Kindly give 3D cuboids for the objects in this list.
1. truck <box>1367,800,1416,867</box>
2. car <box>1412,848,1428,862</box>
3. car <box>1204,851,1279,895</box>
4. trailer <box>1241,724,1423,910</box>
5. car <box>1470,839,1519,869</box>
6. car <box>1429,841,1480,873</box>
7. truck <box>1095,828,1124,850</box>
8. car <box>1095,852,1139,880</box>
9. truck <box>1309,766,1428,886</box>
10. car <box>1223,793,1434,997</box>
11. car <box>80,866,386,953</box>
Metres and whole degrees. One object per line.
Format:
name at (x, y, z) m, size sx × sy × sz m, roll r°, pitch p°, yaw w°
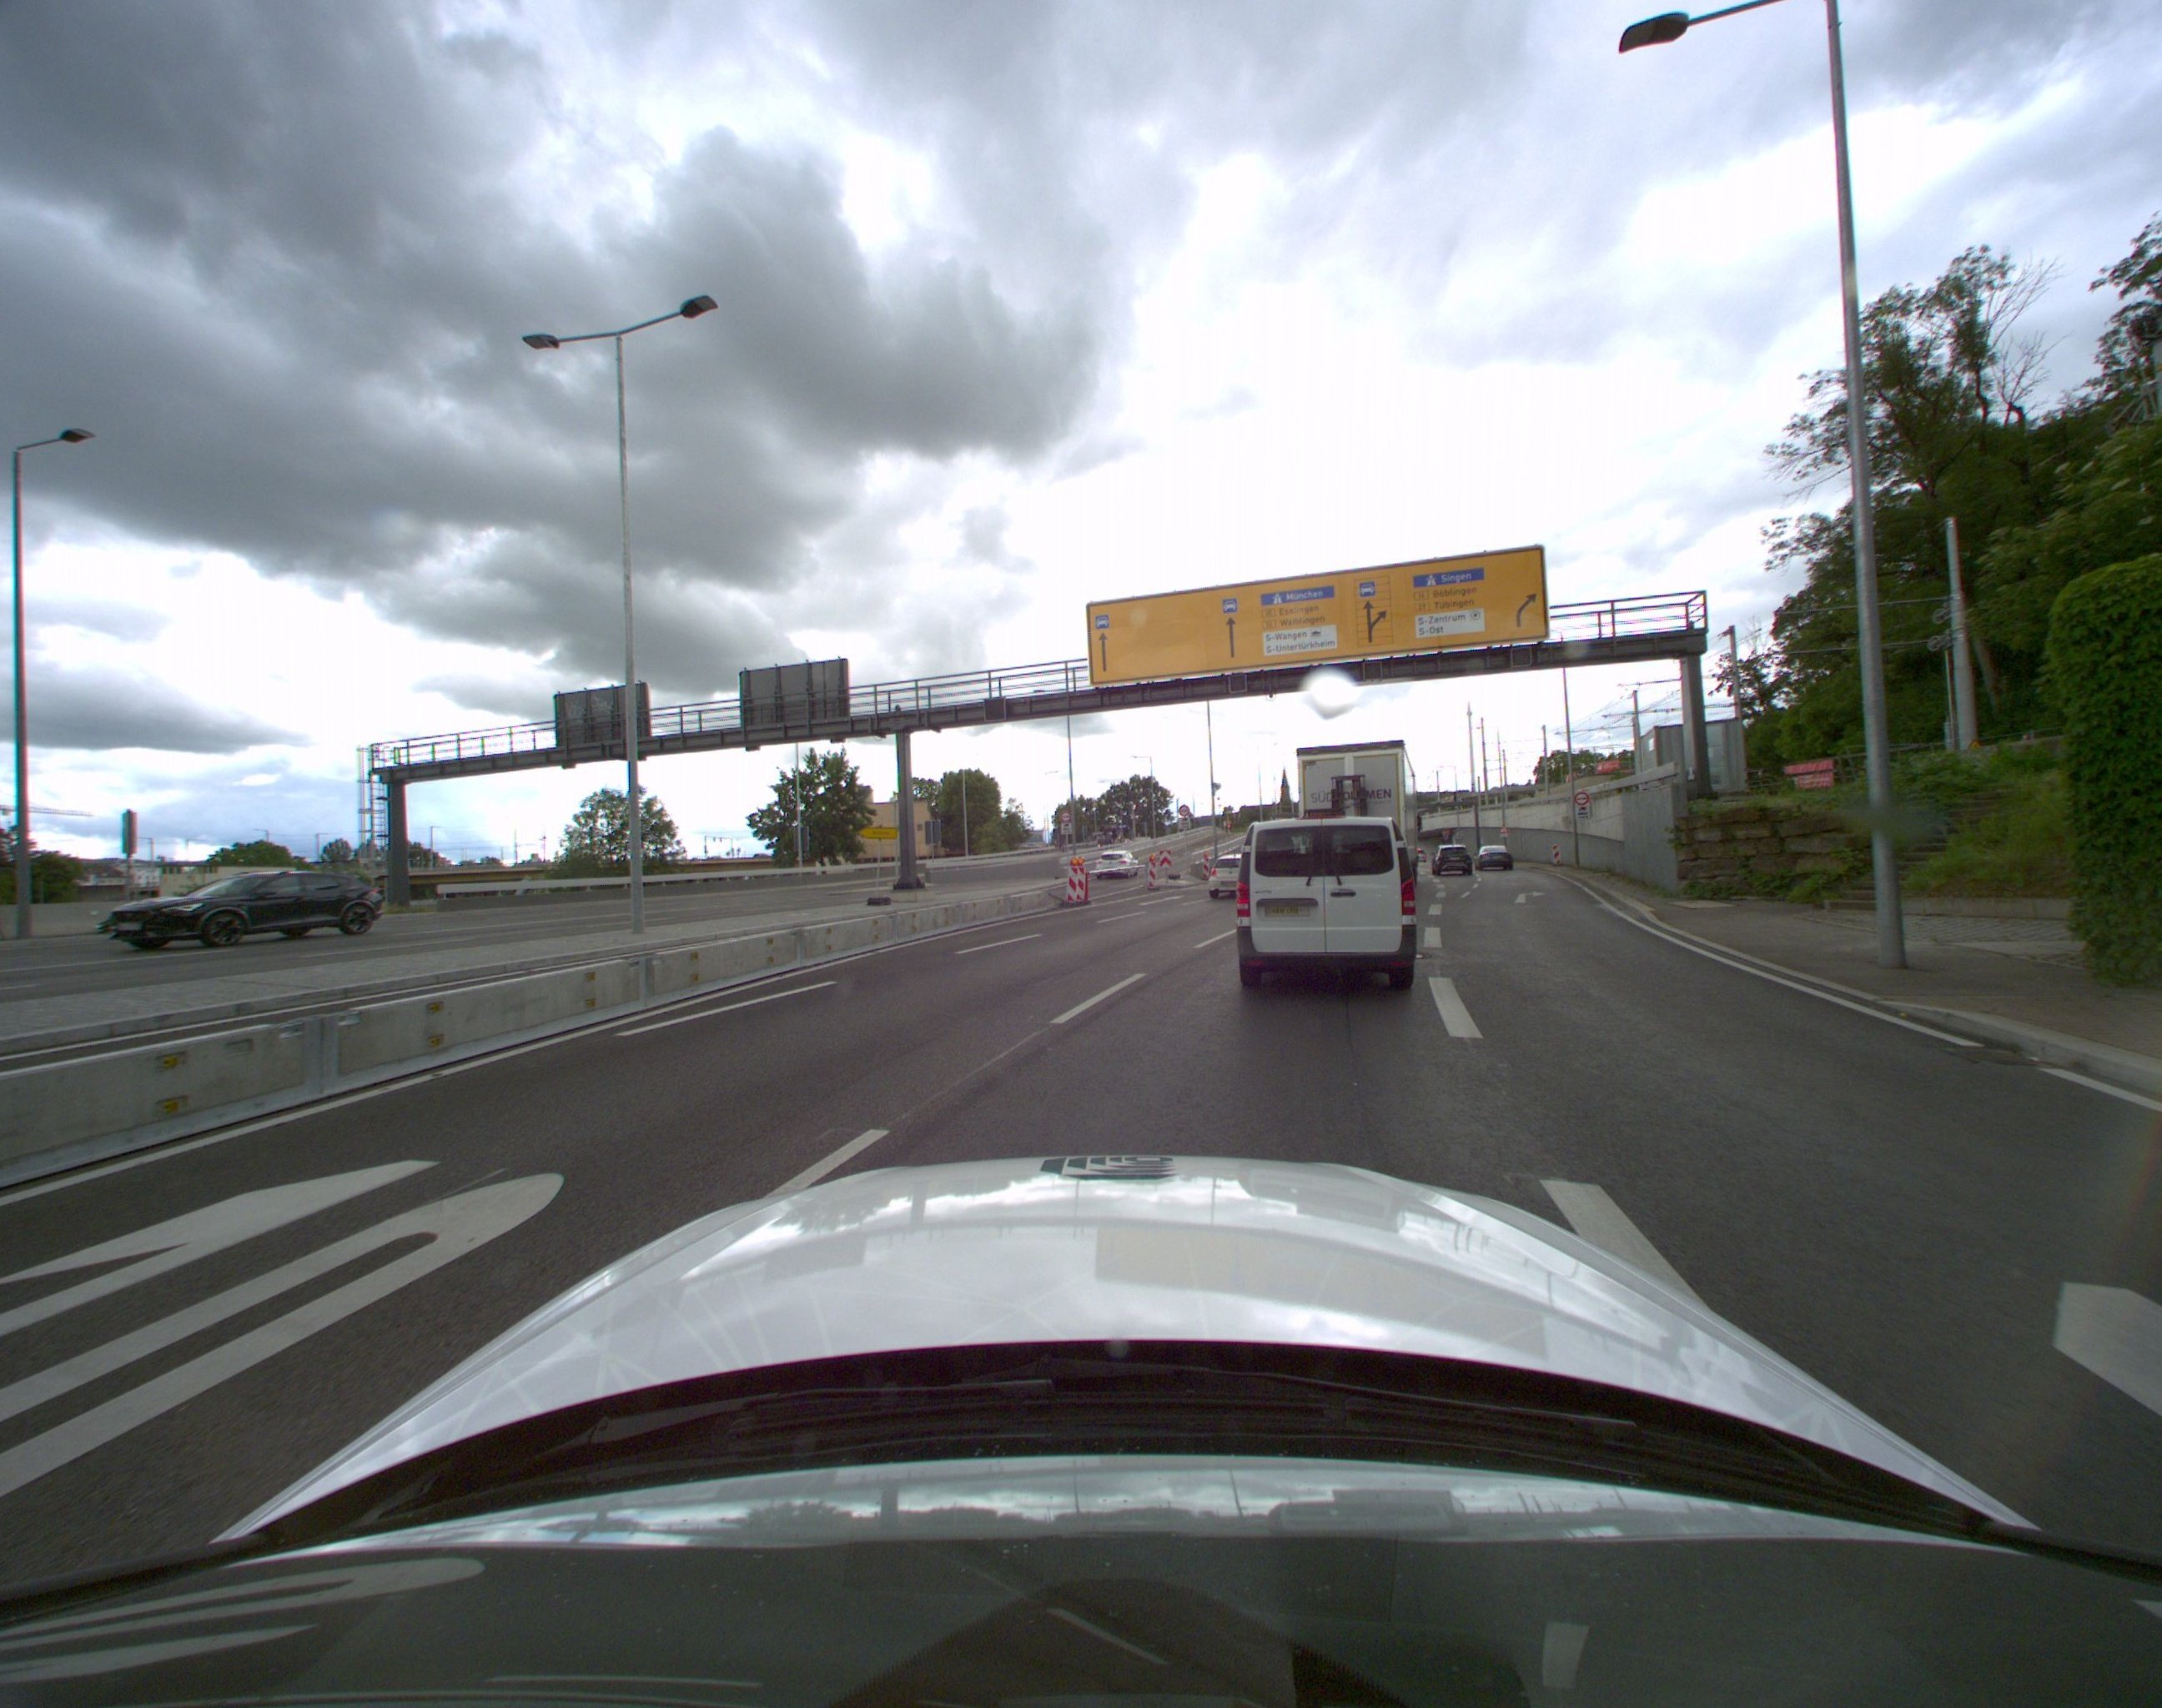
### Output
truck at (23.736, -1.416, 62.590) m, size 3.039 × 4.803 × 9.200 m, roll 1°, pitch -1°, yaw 18°
car at (45.712, 0.095, 109.833) m, size 1.976 × 1.849 × 4.021 m, roll -1°, pitch -1°, yaw 22°
car at (5.660, 0.638, 28.320) m, size 1.701 × 1.398 × 4.371 m, roll -1°, pitch -1°, yaw 23°
trailer at (7.841, -0.786, 23.916) m, size 3.691 × 4.142 × 11.045 m, roll -2°, pitch -1°, yaw 24°
car at (24.380, 0.029, 48.168) m, size 1.878 × 1.626 × 4.017 m, roll -1°, pitch -1°, yaw 17°
car at (19.504, 0.203, 42.648) m, size 1.878 × 1.520 × 4.017 m, roll -1°, pitch -2°, yaw 17°
truck at (4.838, -2.537, 133.987) m, size 2.713 × 3.389 × 10.660 m, roll 0°, pitch 2°, yaw 13°
car at (1.968, 0.625, 43.512) m, size 1.732 × 1.432 × 3.788 m, roll 1°, pitch -1°, yaw 13°
truck at (12.318, -0.956, 34.029) m, size 3.691 × 4.142 × 11.045 m, roll -2°, pitch -1°, yaw 24°
car at (3.037, 0.439, 10.702) m, size 1.980 × 1.990 × 5.217 m, roll -1°, pitch -1°, yaw 13°
car at (-17.975, 1.094, 17.602) m, size 1.982 × 1.585 × 4.146 m, roll -2°, pitch -1°, yaw 8°
